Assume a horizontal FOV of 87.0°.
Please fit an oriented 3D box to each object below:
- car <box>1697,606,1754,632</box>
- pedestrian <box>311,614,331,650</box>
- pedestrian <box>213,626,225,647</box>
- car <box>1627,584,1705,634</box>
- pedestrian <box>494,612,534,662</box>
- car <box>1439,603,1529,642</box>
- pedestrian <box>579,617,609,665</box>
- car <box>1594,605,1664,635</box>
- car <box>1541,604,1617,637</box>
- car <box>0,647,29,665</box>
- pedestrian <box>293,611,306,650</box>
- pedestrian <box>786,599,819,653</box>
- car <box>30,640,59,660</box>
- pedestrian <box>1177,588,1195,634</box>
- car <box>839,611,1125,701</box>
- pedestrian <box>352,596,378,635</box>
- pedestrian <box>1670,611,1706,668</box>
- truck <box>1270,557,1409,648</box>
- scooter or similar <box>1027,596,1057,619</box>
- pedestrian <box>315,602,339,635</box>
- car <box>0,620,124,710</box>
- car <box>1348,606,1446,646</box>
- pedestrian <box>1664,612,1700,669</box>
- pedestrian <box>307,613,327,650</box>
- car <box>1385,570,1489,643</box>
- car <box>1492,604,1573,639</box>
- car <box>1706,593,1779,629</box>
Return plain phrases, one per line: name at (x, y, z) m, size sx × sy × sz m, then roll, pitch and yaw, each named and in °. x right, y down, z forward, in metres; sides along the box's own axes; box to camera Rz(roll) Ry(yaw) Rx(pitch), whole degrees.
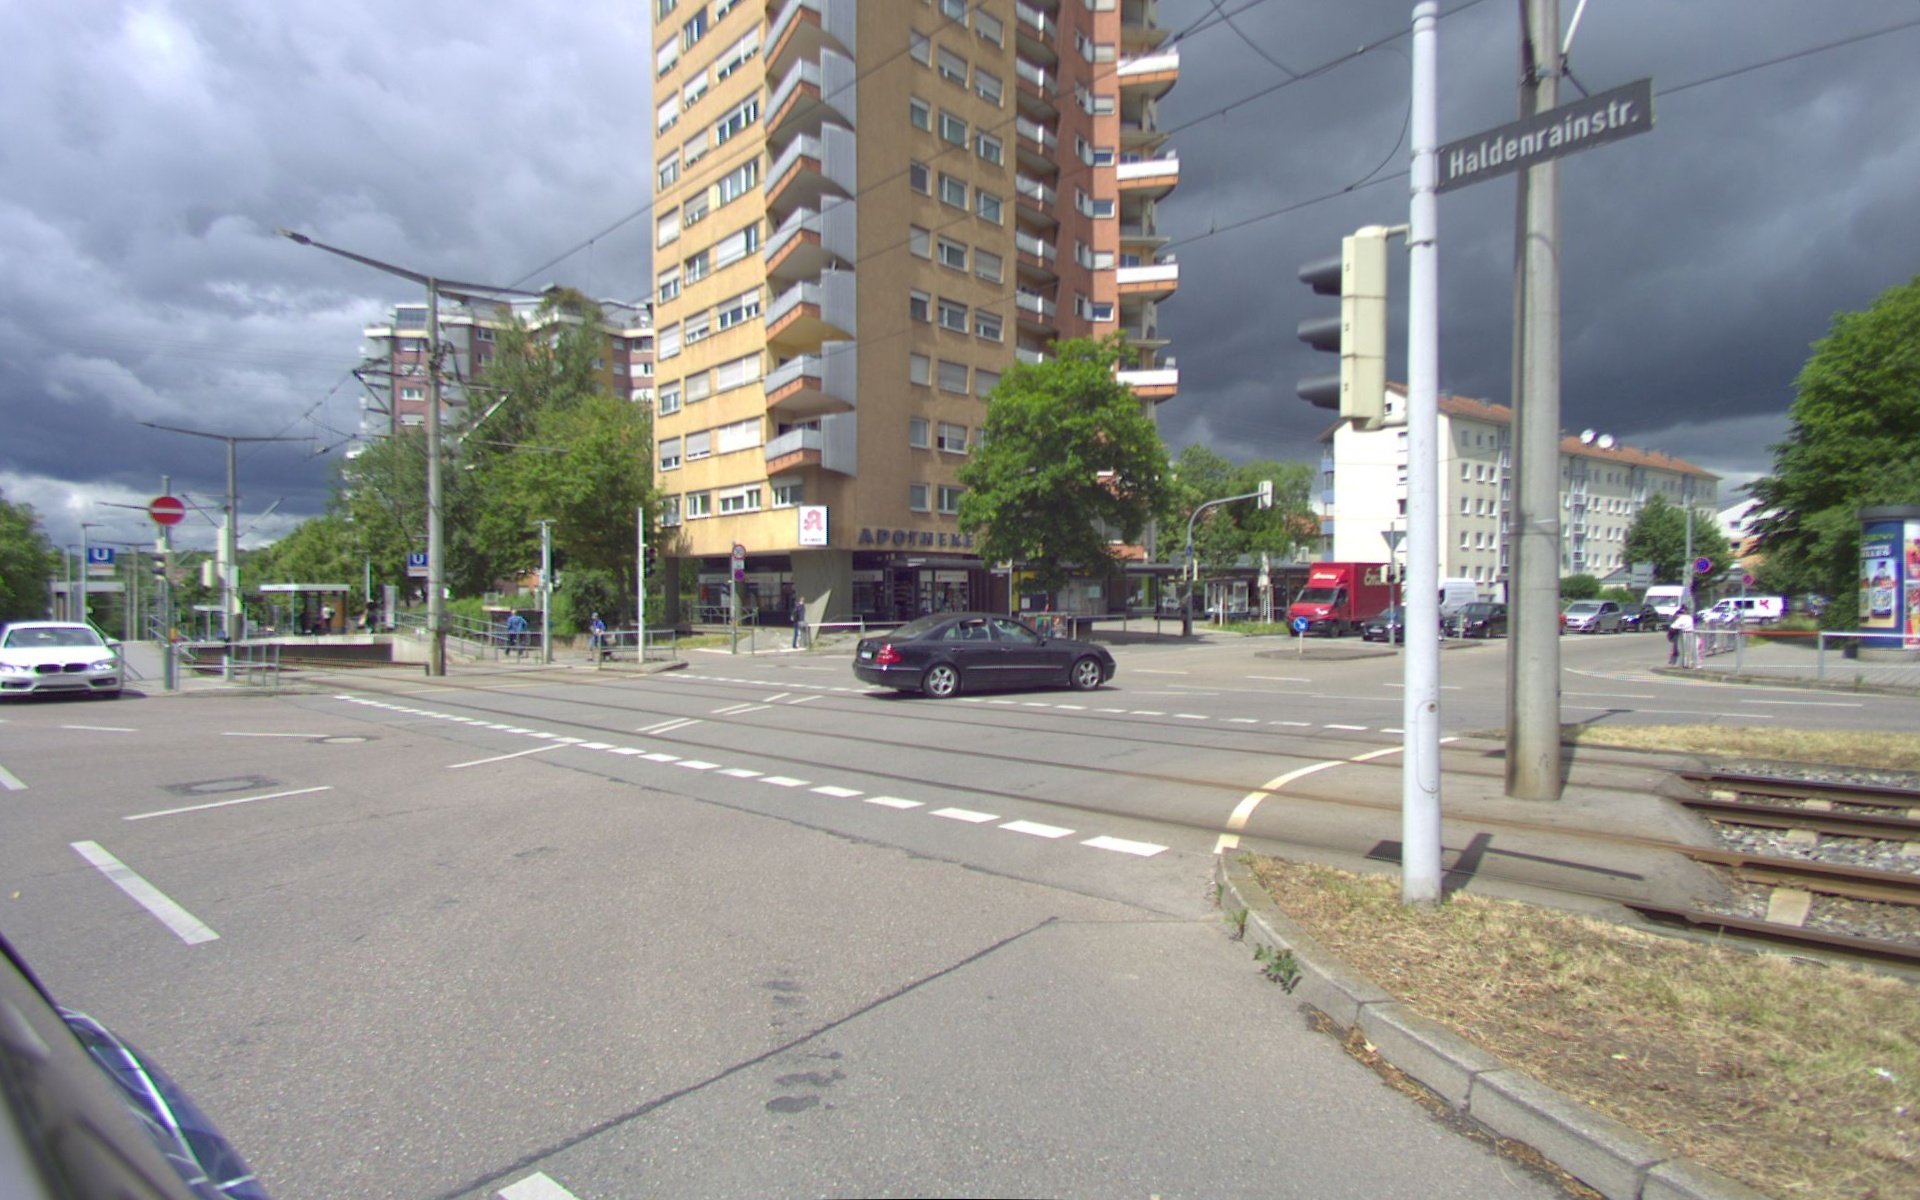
car at (49.808, 1.216, 65.825) m, size 3.935 × 1.614 × 2.004 m, roll 1°, pitch -2°, yaw -38°
pedestrian at (-34.341, 1.724, 54.406) m, size 0.573 × 1.946 × 0.760 m, roll -2°, pitch -2°, yaw 43°
pedestrian at (-60.117, 2.934, 82.090) m, size 0.763 × 1.719 × 0.767 m, roll 1°, pitch -2°, yaw -37°
car at (41.870, 0.557, 59.981) m, size 4.817 × 2.809 × 2.442 m, roll 1°, pitch -2°, yaw -38°
pedestrian at (-15.115, 1.237, 34.303) m, size 0.721 × 1.609 × 0.898 m, roll -1°, pitch 3°, yaw 44°
car at (23.012, 0.972, 44.431) m, size 3.935 × 1.614 × 2.004 m, roll 1°, pitch -2°, yaw -38°
pedestrian at (-11.771, 1.302, 32.565) m, size 0.649 × 1.525 × 0.710 m, roll -2°, pitch -2°, yaw 45°
car at (36.885, 1.104, 55.787) m, size 3.935 × 1.614 × 2.004 m, roll 1°, pitch -2°, yaw -38°
car at (31.585, 1.057, 51.626) m, size 3.935 × 1.614 × 2.004 m, roll 1°, pitch -2°, yaw -38°
car at (-73.379, 4.321, 78.402) m, size 1.779 × 1.224 × 4.027 m, roll 1°, pitch -2°, yaw -41°
pedestrian at (-37.588, 1.733, 57.629) m, size 0.524 × 2.158 × 0.609 m, roll 1°, pitch -2°, yaw -42°
pedestrian at (-5.818, 0.947, 37.384) m, size 0.853 × 1.949 × 0.908 m, roll -2°, pitch -2°, yaw 44°
car at (-105.182, 5.718, 116.245) m, size 3.998 × 2.165 × 1.973 m, roll -2°, pitch -2°, yaw 41°
pedestrian at (9.176, 0.444, 41.094) m, size 0.637 × 1.825 × 0.883 m, roll -1°, pitch -1°, yaw 17°
car at (0.369, 0.912, 17.768) m, size 4.593 × 1.409 × 1.984 m, roll 0°, pitch -1°, yaw -22°
pedestrian at (-27.580, 0.708, 46.925) m, size 0.747 × 1.787 × 0.853 m, roll -2°, pitch -2°, yaw 44°
pedestrian at (18.936, 1.023, 26.332) m, size 0.510 × 1.483 × 0.528 m, roll 0°, pitch -2°, yaw -20°
truck at (16.613, 0.157, 44.120) m, size 6.988 × 3.702 × 2.551 m, roll 1°, pitch -2°, yaw -40°
scooter or similar at (3.948, 0.374, 48.887) m, size 0.545 × 1.102 × 1.729 m, roll -2°, pitch -2°, yaw 40°
pedestrian at (-31.460, 0.903, 50.266) m, size 0.747 × 1.618 × 0.853 m, roll -2°, pitch -2°, yaw 44°
car at (-16.814, 1.176, 18.698) m, size 1.768 × 1.462 × 4.278 m, roll 0°, pitch -3°, yaw -44°
car at (17.418, 1.034, 40.244) m, size 3.937 × 1.506 × 2.003 m, roll 1°, pitch -2°, yaw -40°
pedestrian at (19.261, 1.078, 27.004) m, size 0.562 × 1.483 × 0.528 m, roll 0°, pitch -2°, yaw -20°
pedestrian at (-34.859, 1.704, 54.850) m, size 0.584 × 2.029 × 0.769 m, roll -2°, pitch -2°, yaw 45°
car at (23.231, 0.349, 49.164) m, size 6.203 × 3.324 × 2.004 m, roll 1°, pitch -2°, yaw -38°
car at (27.583, 1.028, 48.752) m, size 3.935 × 1.614 × 2.004 m, roll 1°, pitch -2°, yaw -38°
car at (55.878, 0.834, 72.272) m, size 1.733 × 2.496 × 3.825 m, roll 1°, pitch -2°, yaw -41°
